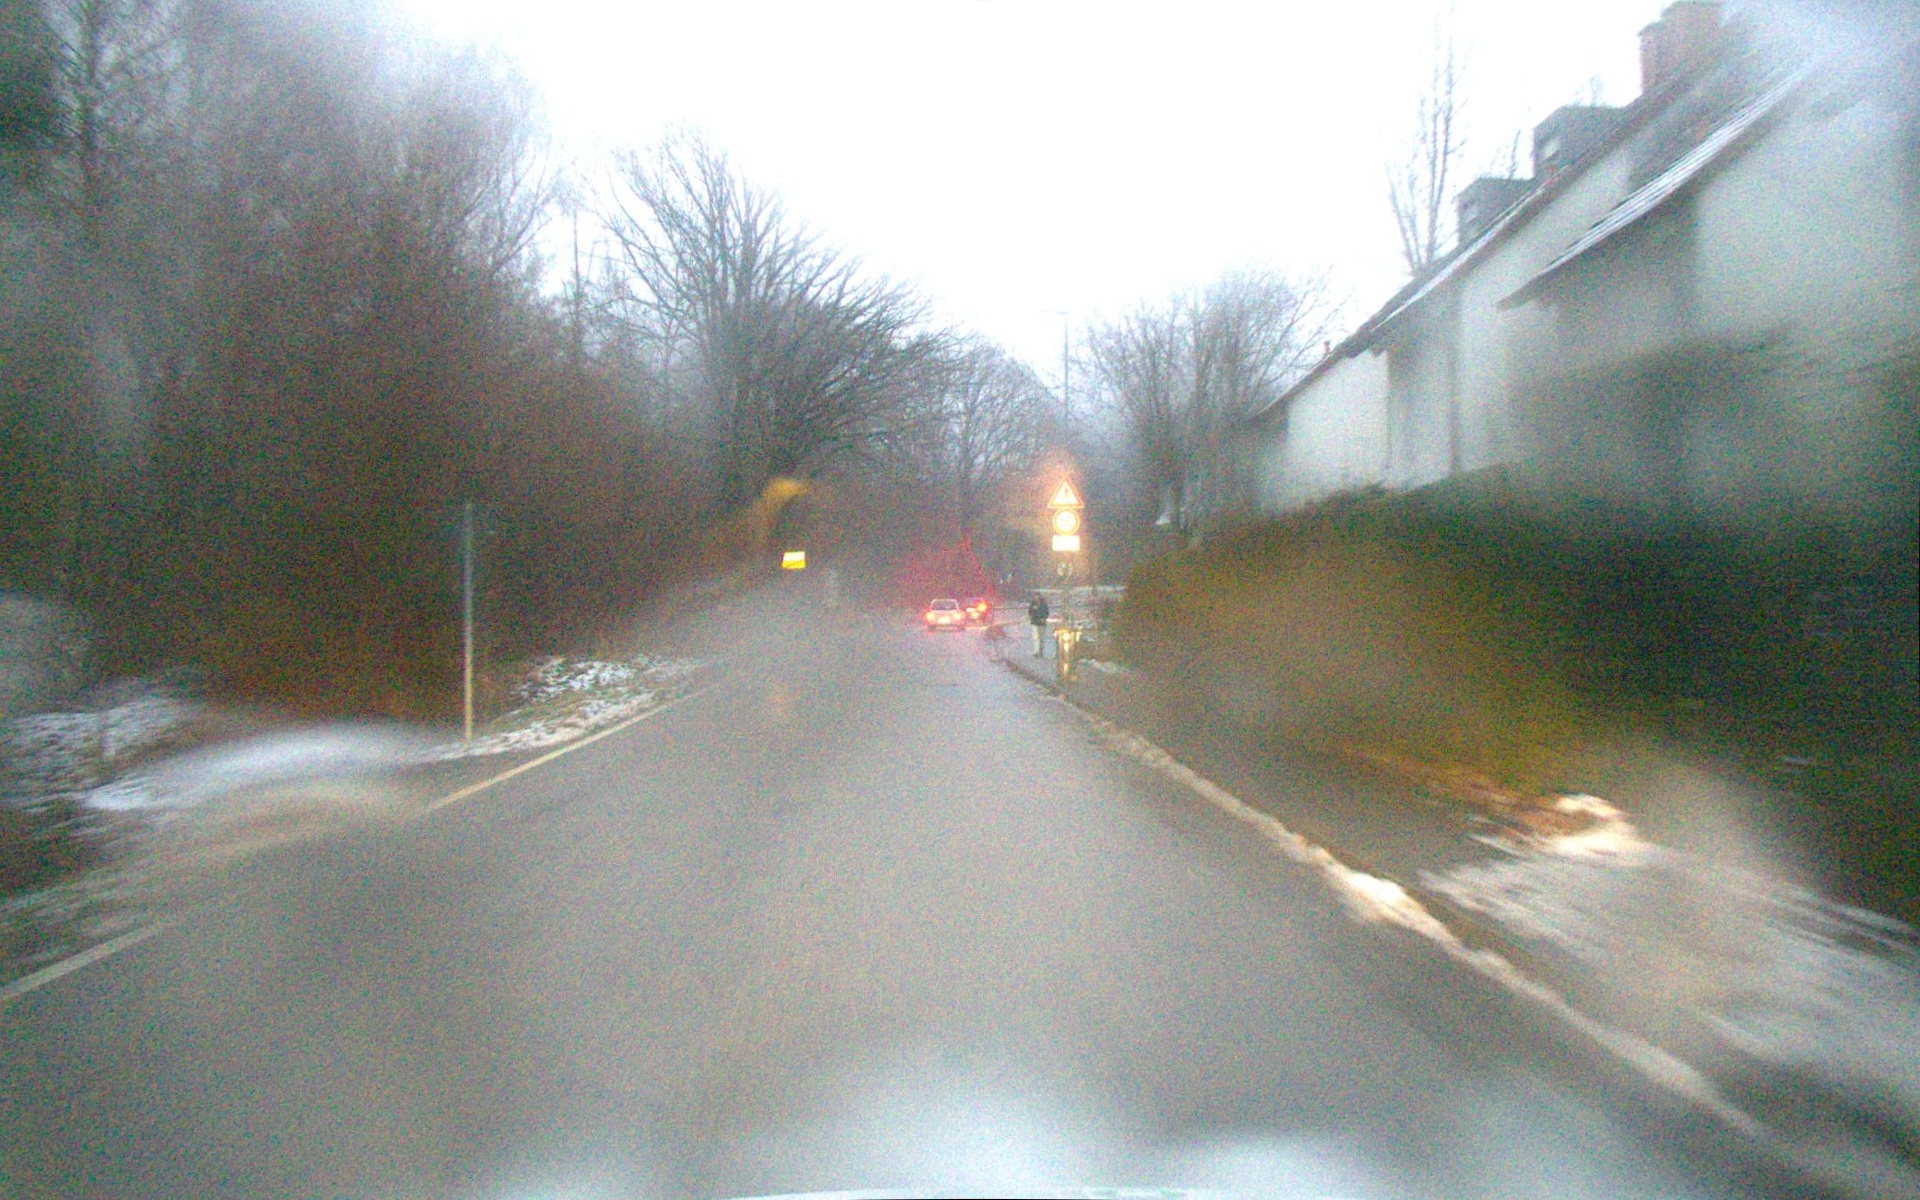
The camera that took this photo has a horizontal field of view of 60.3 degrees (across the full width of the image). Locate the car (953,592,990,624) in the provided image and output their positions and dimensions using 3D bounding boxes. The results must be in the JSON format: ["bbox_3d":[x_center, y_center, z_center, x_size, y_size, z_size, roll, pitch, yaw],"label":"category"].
[{"bbox_3d":[0.601,0.419,89.584,1.894,1.705,3.999,0,0,-1],"label":"car"}]

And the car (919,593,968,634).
[{"bbox_3d":[-0.734,0.617,76.817,1.892,1.812,4.003,0,0,5],"label":"car"}]

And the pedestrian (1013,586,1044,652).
[{"bbox_3d":[1.775,0.483,43.058,0.728,1.684,0.970,0,0,-2],"label":"pedestrian"}]
